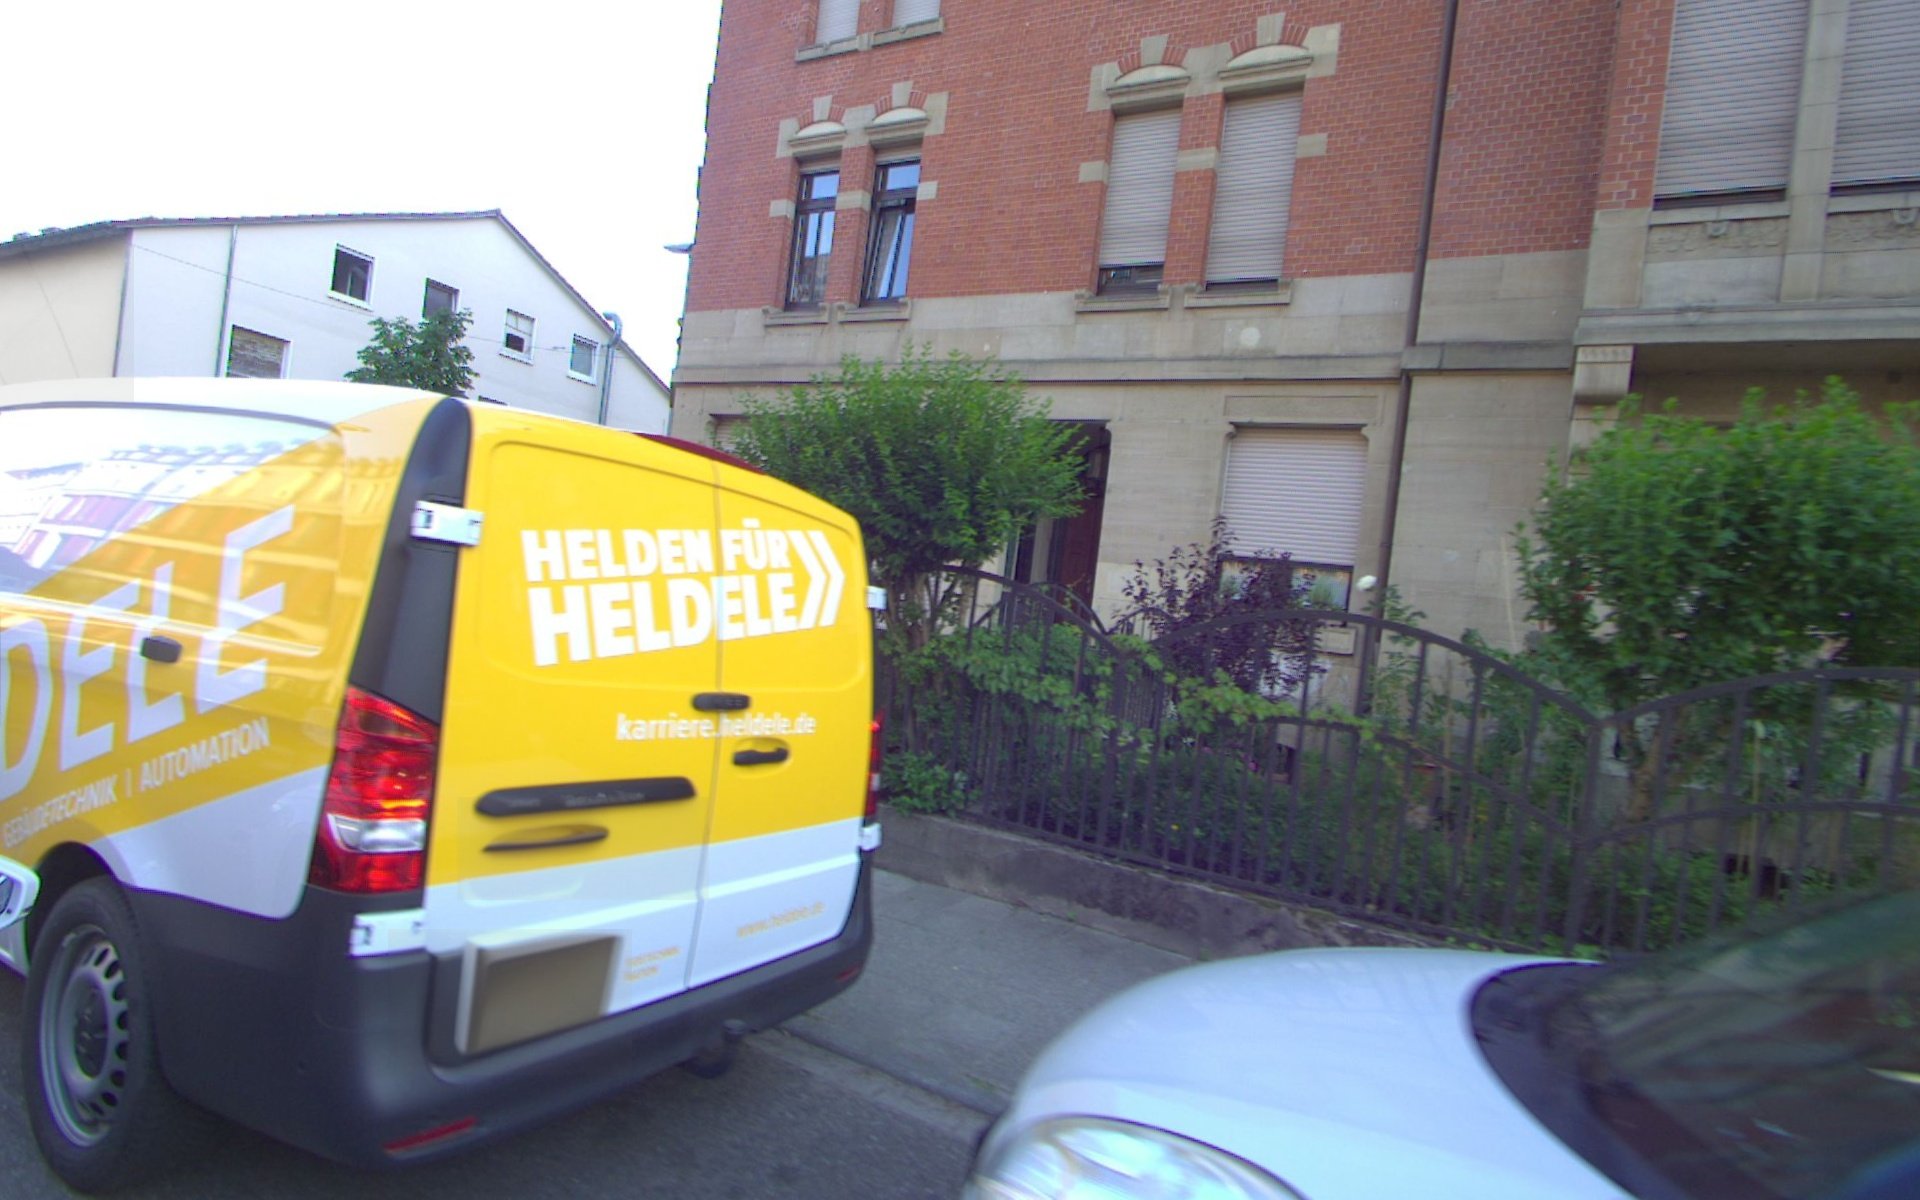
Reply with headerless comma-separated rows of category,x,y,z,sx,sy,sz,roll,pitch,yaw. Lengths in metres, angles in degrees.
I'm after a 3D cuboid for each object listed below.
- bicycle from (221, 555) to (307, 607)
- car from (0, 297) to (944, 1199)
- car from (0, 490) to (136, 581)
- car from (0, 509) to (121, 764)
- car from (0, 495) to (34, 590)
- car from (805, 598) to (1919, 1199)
bicycle,-16.814,-0.448,24.337,0.338,1.031,1.606,10,-1,29
car,-2.778,0.256,3.807,4.995,1.906,1.897,7,-1,30
car,-19.036,-1.387,19.707,1.727,1.533,4.055,9,1,31
car,-7.432,-0.033,6.440,4.181,1.440,1.726,7,-2,30
car,-16.417,-1.093,14.647,1.626,1.473,3.942,7,0,19
car,1.821,1.004,1.065,3.799,1.494,1.677,7,-1,33
